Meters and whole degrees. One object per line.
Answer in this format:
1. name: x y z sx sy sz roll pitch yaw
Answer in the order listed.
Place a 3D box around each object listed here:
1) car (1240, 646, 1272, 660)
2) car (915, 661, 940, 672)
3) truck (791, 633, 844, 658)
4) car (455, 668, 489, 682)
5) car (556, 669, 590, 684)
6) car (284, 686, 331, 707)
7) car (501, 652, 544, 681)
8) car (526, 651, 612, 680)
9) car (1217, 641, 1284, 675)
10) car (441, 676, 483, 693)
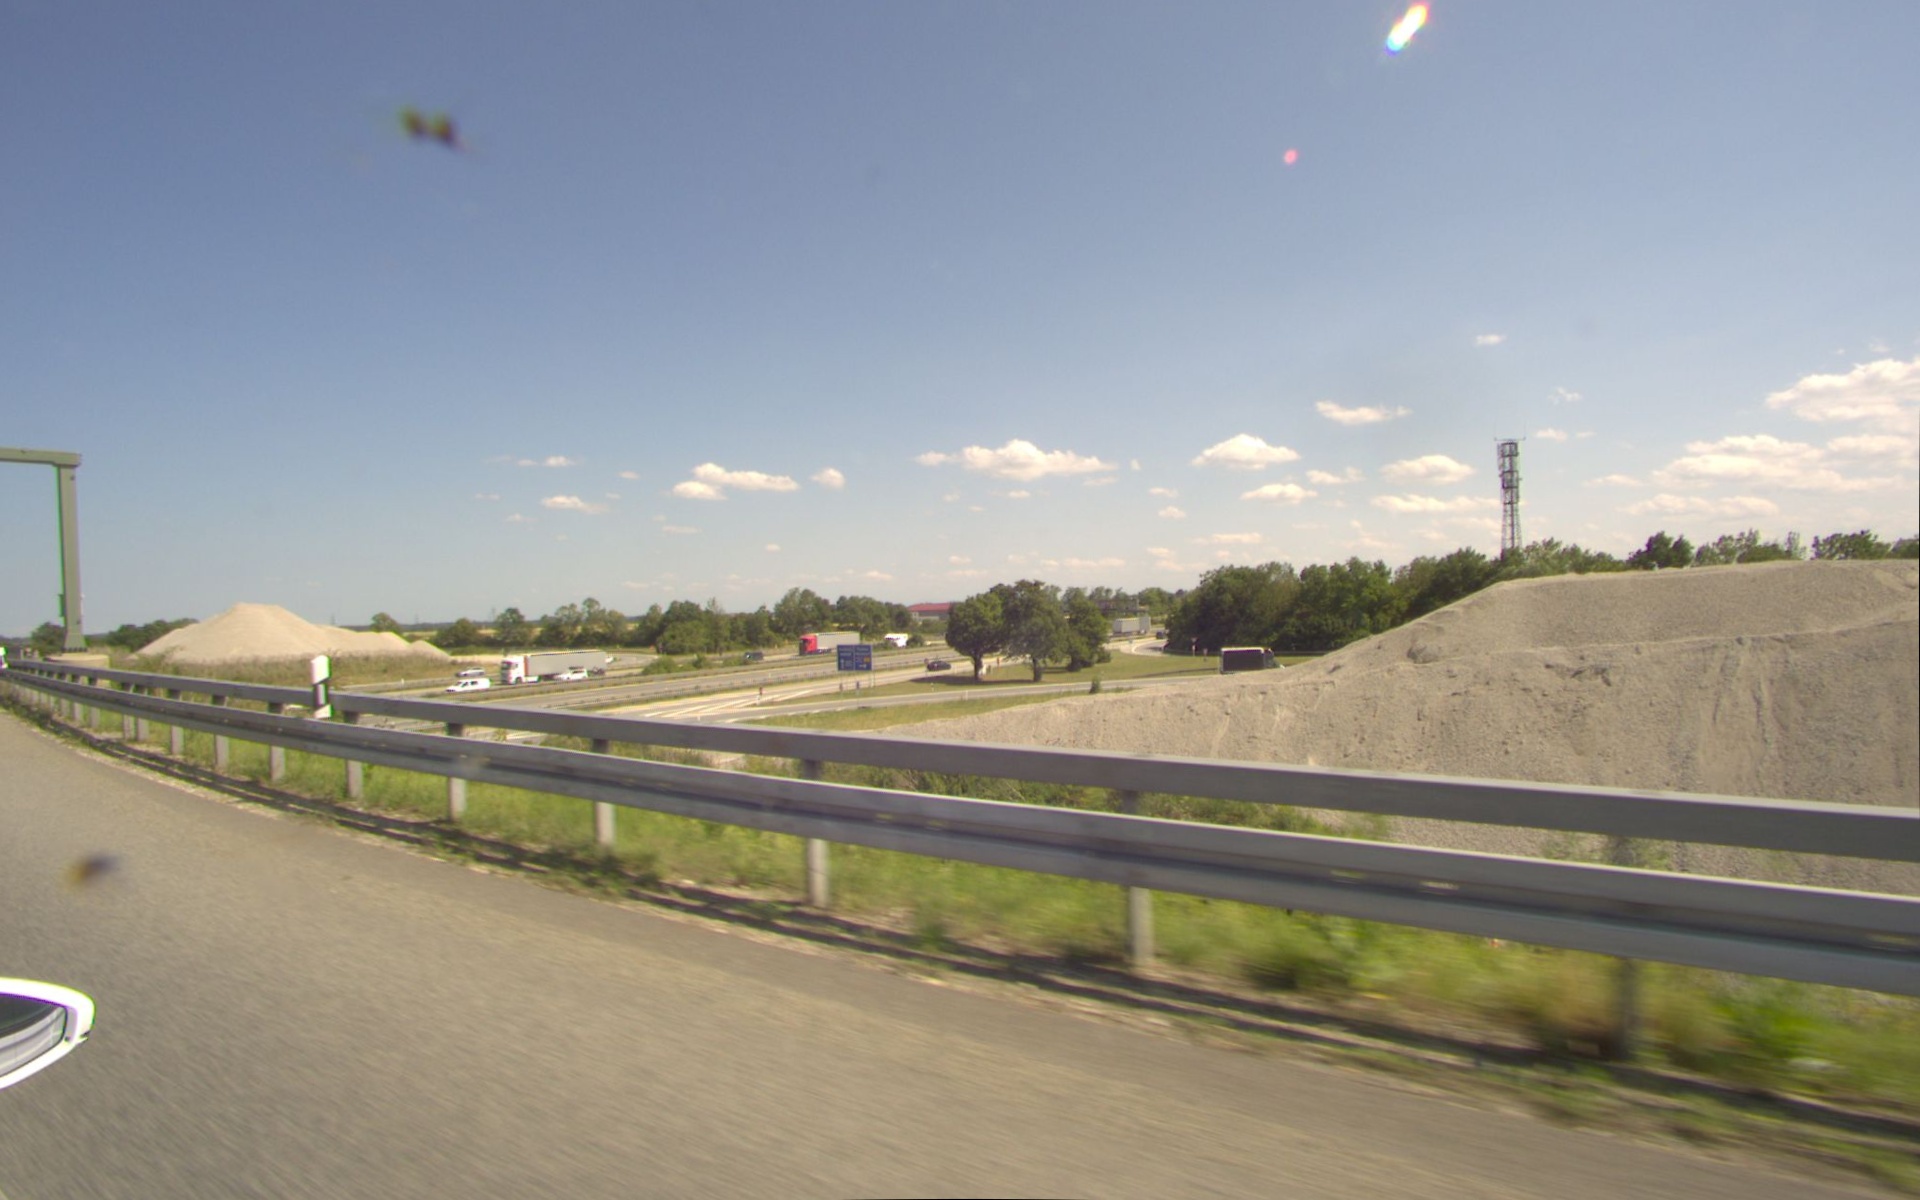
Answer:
1. car: 41.549 7.443 140.695 1.978 1.792 3.970 4 -6 -39
2. car: -4.704 9.595 144.825 1.969 1.593 3.988 -2 -4 27
3. truck: -28.218 8.953 198.903 2.829 4.118 12.506 -2 0 32
4. car: -76.184 11.671 156.437 1.973 2.039 4.386 -2 -3 33
5. car: -56.278 11.054 145.686 1.973 2.039 4.386 -2 -3 33
6. car: -71.877 10.637 110.337 1.780 2.039 3.976 -2 -3 36
7. car: -62.084 9.353 142.066 2.449 4.013 5.132 -2 -3 33
8. car: -57.840 9.603 148.571 2.449 4.013 12.944 -2 -3 33
9. car: 32.182 6.397 111.072 6.943 3.672 2.002 0 -4 9
10. car: -62.867 10.632 126.414 1.973 2.039 4.386 -2 -3 33
